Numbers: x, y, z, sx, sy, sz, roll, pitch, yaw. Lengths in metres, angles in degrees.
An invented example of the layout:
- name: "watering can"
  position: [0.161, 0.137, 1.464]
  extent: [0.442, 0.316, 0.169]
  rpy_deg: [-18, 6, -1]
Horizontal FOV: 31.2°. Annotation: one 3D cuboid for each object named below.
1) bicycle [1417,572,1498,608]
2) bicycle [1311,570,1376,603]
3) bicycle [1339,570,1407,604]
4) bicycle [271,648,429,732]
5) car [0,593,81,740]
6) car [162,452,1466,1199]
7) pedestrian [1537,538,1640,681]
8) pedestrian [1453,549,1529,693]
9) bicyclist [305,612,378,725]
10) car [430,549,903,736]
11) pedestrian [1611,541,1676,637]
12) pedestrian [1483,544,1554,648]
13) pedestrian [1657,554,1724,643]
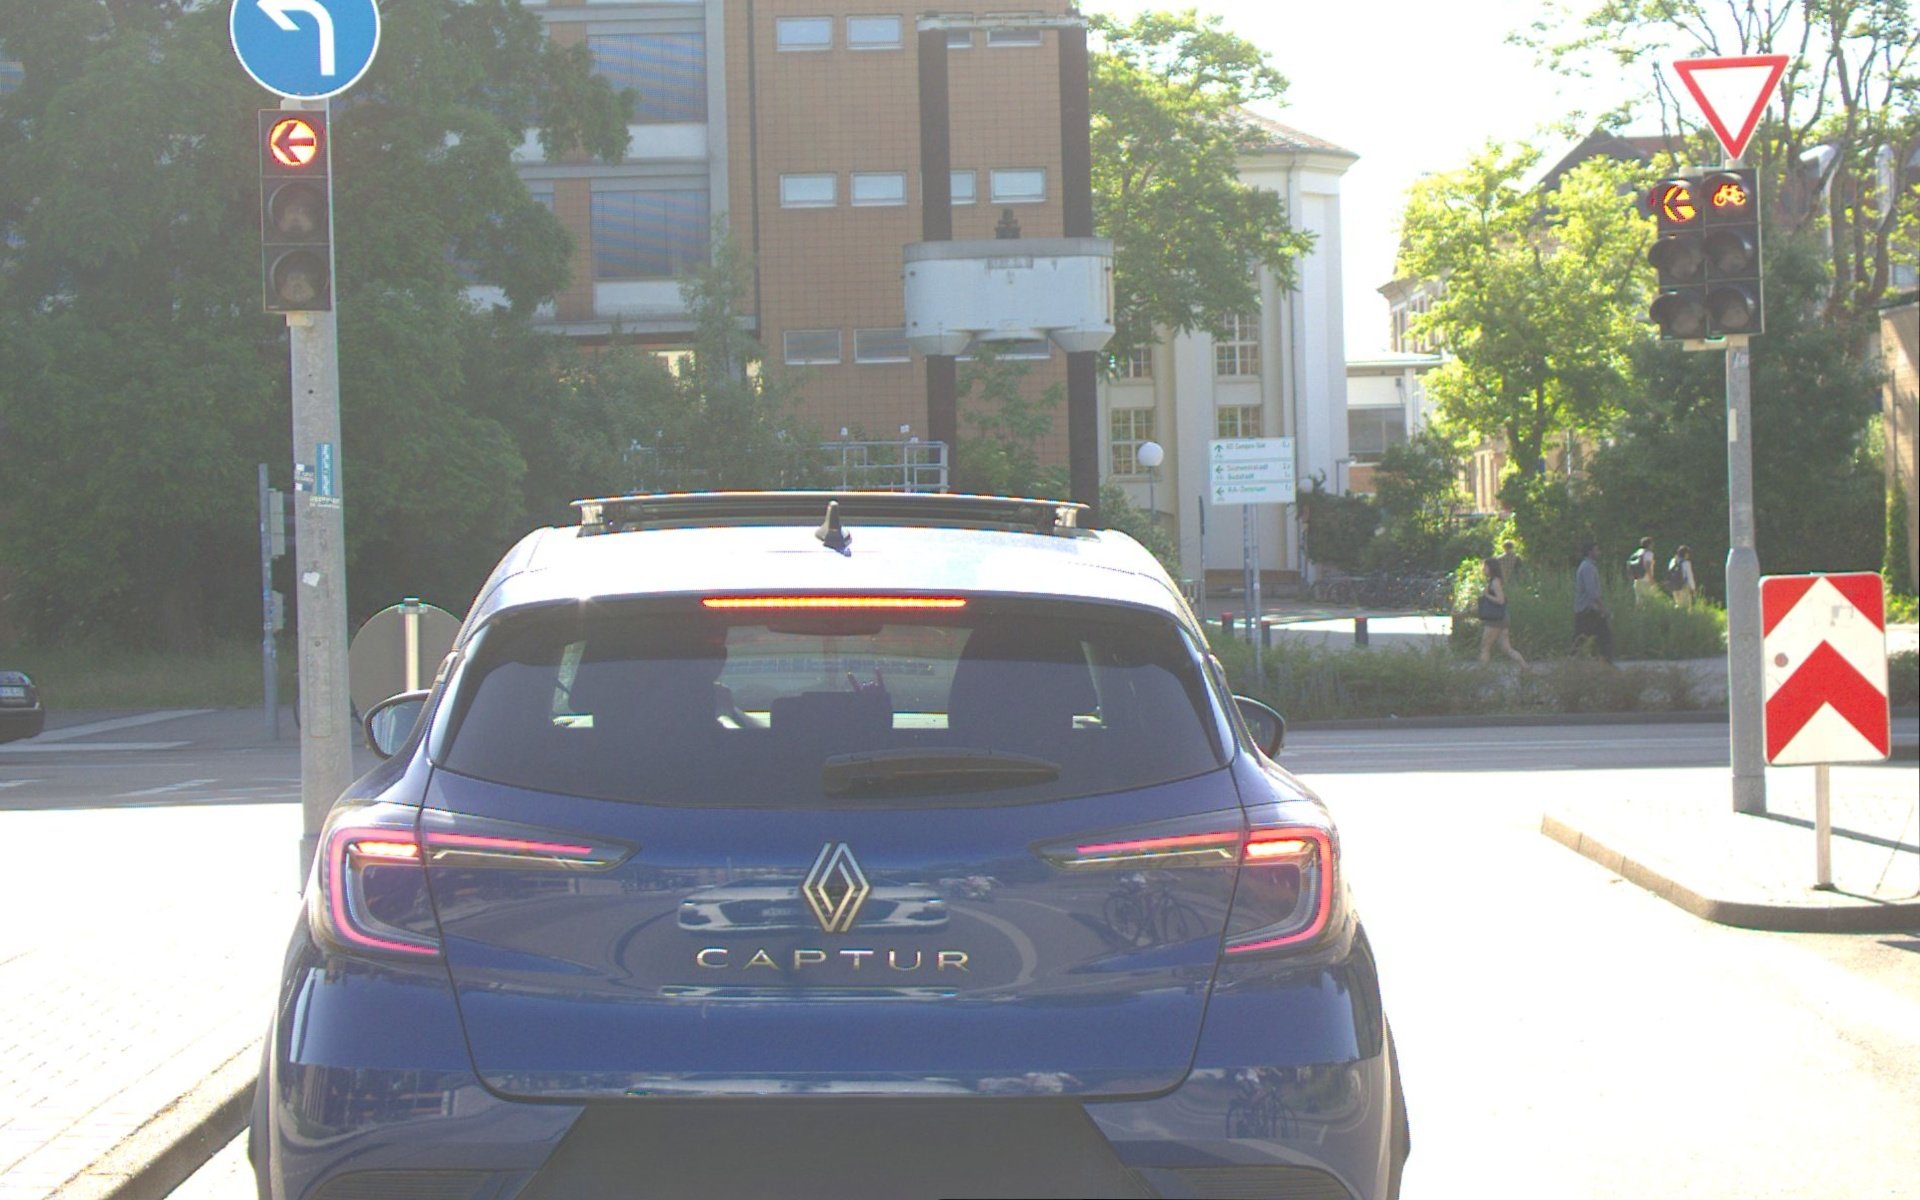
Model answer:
- name: "bicycle"
  position: [12.024, -0.250, 83.068]
  extent: [1.770, 0.820, 0.766]
  rpy_deg: [-1, 1, -10]
- name: "bicycle"
  position: [11.055, -0.397, 99.234]
  extent: [1.771, 0.890, 0.765]
  rpy_deg: [-1, 1, 0]
- name: "bicycle"
  position: [11.393, -0.366, 94.869]
  extent: [1.771, 0.895, 0.765]
  rpy_deg: [-1, 1, 0]
- name: "bicycle"
  position: [-7.820, 1.150, 44.090]
  extent: [1.863, 1.004, 0.700]
  rpy_deg: [-1, -2, -40]
- name: "car"
  position: [-12.702, 0.771, 39.002]
  extent: [4.845, 1.576, 2.100]
  rpy_deg: [-1, 1, 14]
- name: "car"
  position: [-0.253, 0.591, 6.680]
  extent: [1.794, 1.649, 3.853]
  rpy_deg: [0, 1, -2]
- name: "pedestrian"
  position: [8.297, 0.119, 45.372]
  extent: [1.298, 1.849, 0.965]
  rpy_deg: [-1, 1, 11]
- name: "pedestrian"
  position: [6.938, 0.271, 44.936]
  extent: [0.932, 1.849, 0.807]
  rpy_deg: [-1, 1, 9]
- name: "bicyclist"
  position: [-7.920, 0.879, 44.021]
  extent: [0.637, 1.407, 0.649]
  rpy_deg: [-1, -2, -40]
- name: "car"
  position: [-3.339, 0.478, 39.562]
  extent: [5.001, 2.007, 2.071]
  rpy_deg: [-1, 1, 11]
- name: "pedestrian"
  position: [12.648, -0.206, 63.637]
  extent: [0.953, 1.735, 0.984]
  rpy_deg: [-1, 1, 0]
- name: "pedestrian"
  position: [10.957, -0.090, 67.502]
  extent: [1.156, 2.007, 1.164]
  rpy_deg: [-1, 1, 0]
- name: "pedestrian"
  position: [13.384, -0.034, 62.991]
  extent: [0.936, 1.607, 1.176]
  rpy_deg: [-1, 1, 0]
